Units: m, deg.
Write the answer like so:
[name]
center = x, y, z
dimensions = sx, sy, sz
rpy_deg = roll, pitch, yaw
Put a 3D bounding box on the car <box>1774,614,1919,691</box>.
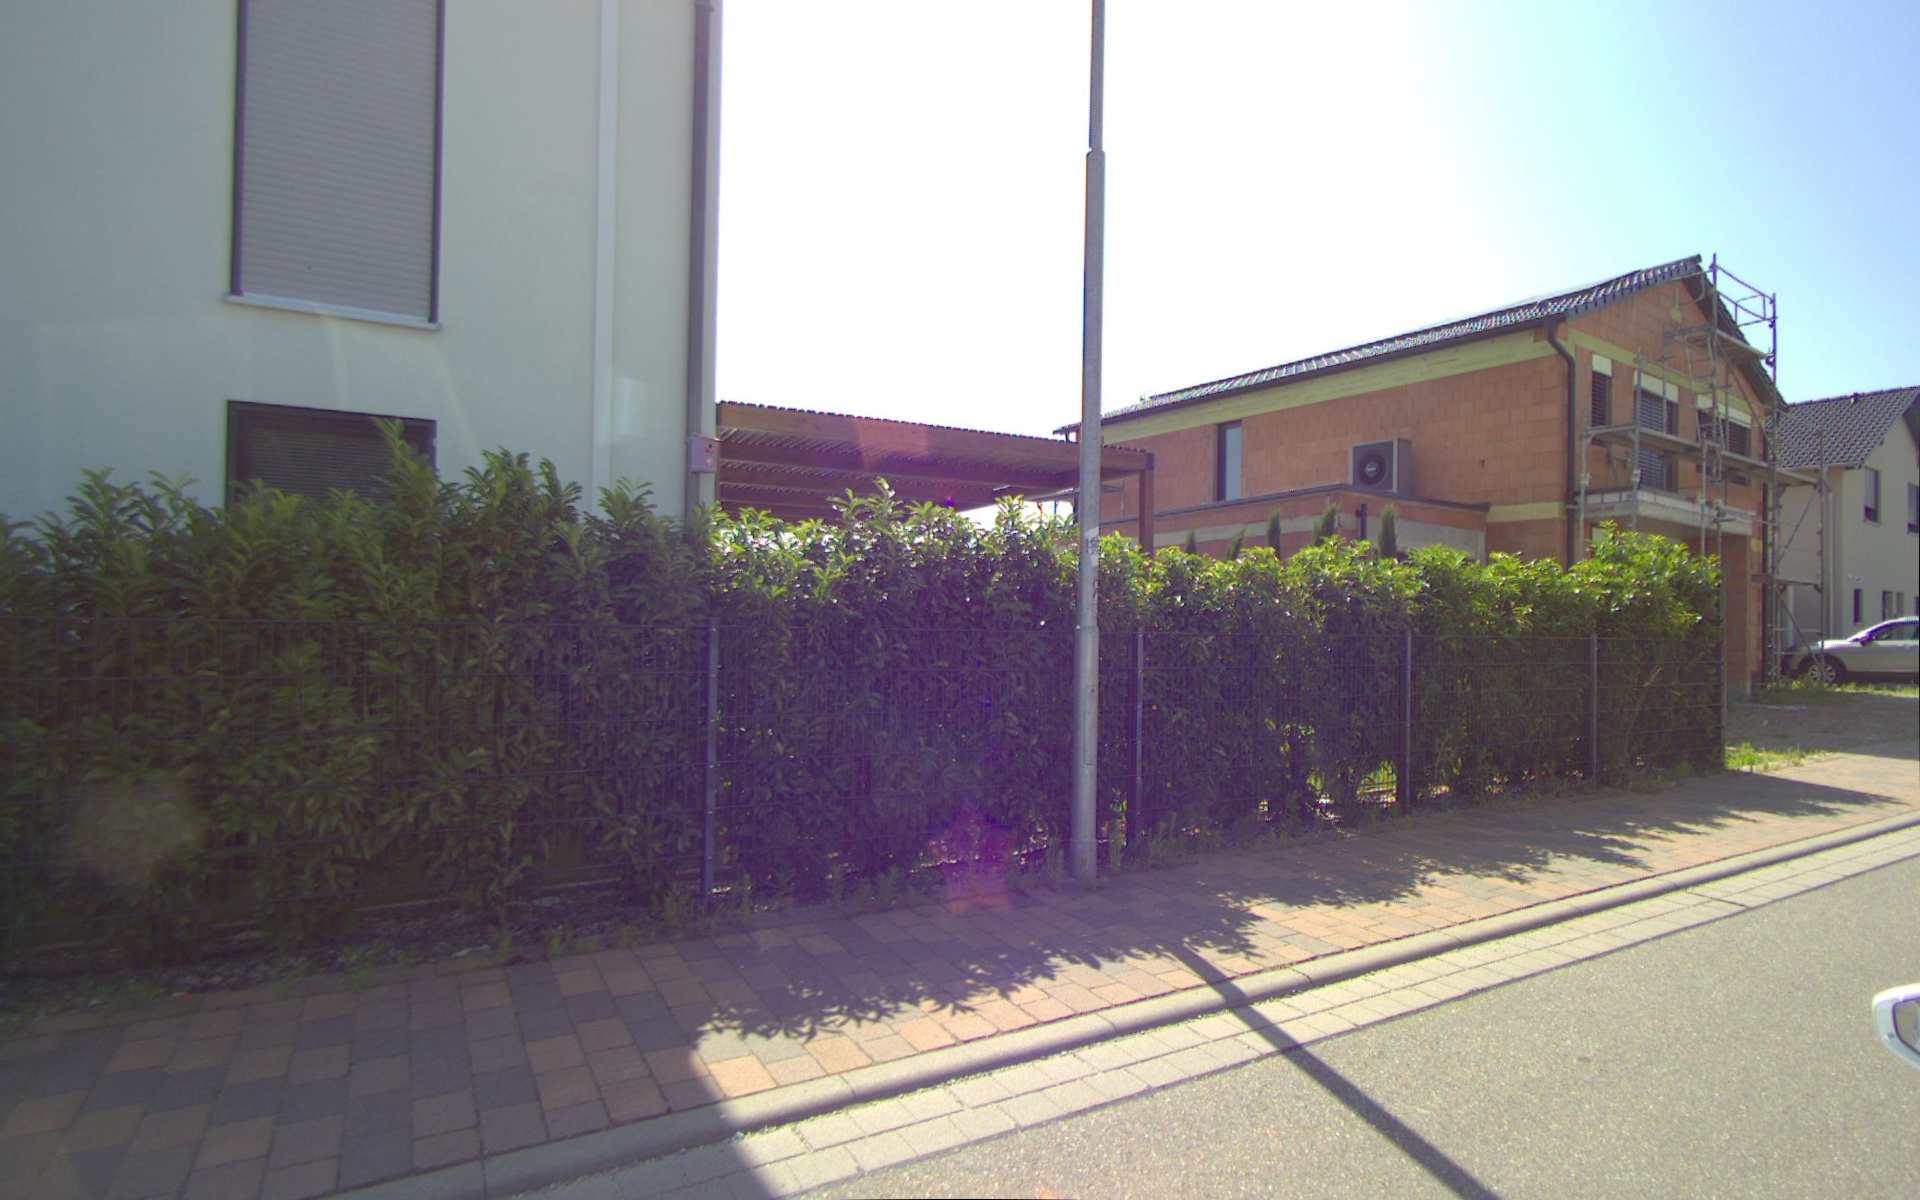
[car]
center = 21.131, 1.144, 22.339
dimensions = 1.982, 1.633, 4.392
rpy_deg = 1, -2, -38
